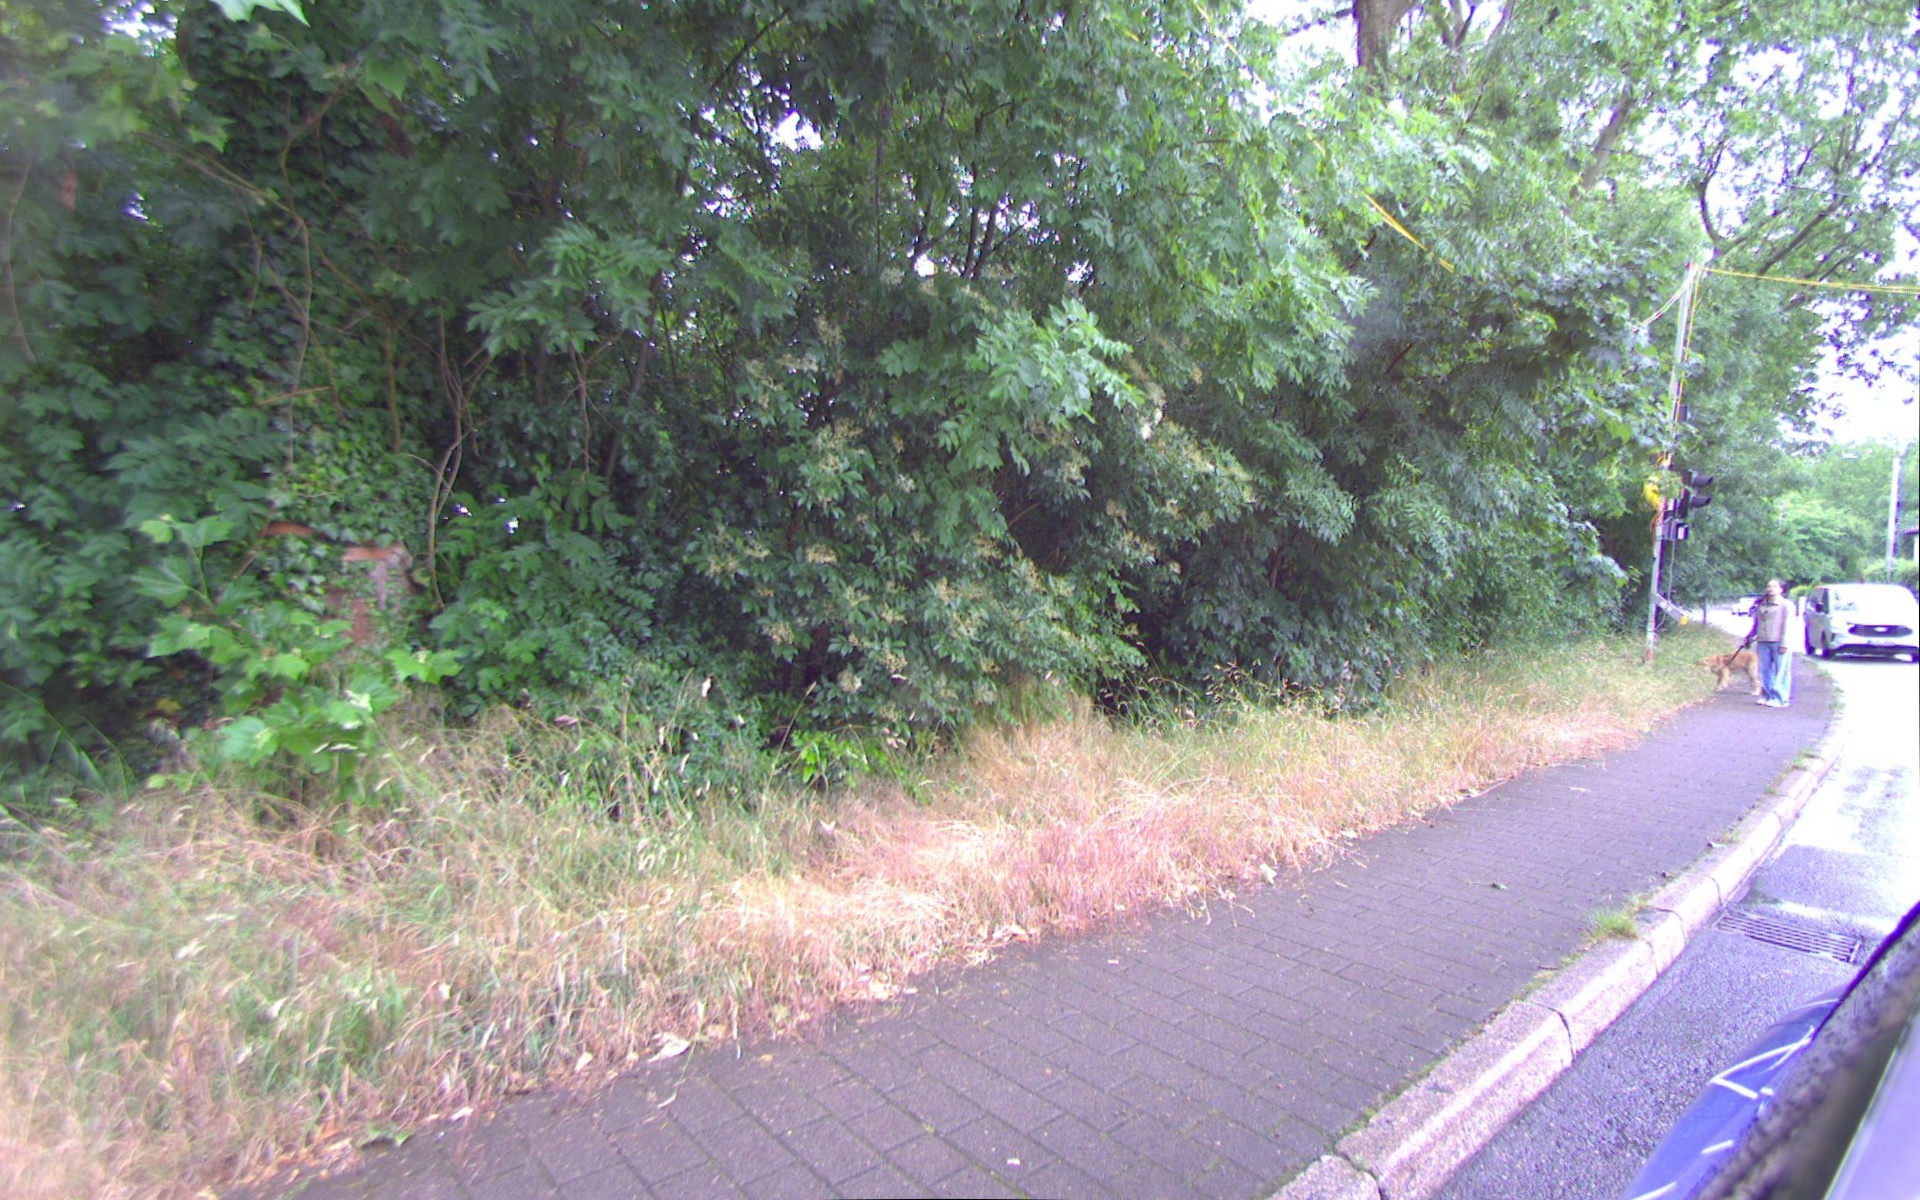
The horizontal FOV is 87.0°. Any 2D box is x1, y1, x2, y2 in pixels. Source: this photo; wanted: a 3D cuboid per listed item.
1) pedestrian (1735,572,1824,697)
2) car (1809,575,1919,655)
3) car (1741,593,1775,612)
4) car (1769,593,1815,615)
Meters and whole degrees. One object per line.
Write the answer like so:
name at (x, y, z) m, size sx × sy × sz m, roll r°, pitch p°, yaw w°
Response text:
pedestrian at (10.496, 0.416, 12.962) m, size 0.771 × 1.518 × 0.734 m, roll 0°, pitch 1°, yaw -42°
car at (24.459, 0.351, 27.046) m, size 2.088 × 1.943 × 5.030 m, roll 0°, pitch 0°, yaw 33°
car at (64.938, 0.202, 82.372) m, size 1.676 × 1.445 × 3.734 m, roll 1°, pitch 1°, yaw 31°
car at (60.744, 0.281, 73.920) m, size 2.055 × 1.504 × 4.509 m, roll 1°, pitch 1°, yaw 33°
